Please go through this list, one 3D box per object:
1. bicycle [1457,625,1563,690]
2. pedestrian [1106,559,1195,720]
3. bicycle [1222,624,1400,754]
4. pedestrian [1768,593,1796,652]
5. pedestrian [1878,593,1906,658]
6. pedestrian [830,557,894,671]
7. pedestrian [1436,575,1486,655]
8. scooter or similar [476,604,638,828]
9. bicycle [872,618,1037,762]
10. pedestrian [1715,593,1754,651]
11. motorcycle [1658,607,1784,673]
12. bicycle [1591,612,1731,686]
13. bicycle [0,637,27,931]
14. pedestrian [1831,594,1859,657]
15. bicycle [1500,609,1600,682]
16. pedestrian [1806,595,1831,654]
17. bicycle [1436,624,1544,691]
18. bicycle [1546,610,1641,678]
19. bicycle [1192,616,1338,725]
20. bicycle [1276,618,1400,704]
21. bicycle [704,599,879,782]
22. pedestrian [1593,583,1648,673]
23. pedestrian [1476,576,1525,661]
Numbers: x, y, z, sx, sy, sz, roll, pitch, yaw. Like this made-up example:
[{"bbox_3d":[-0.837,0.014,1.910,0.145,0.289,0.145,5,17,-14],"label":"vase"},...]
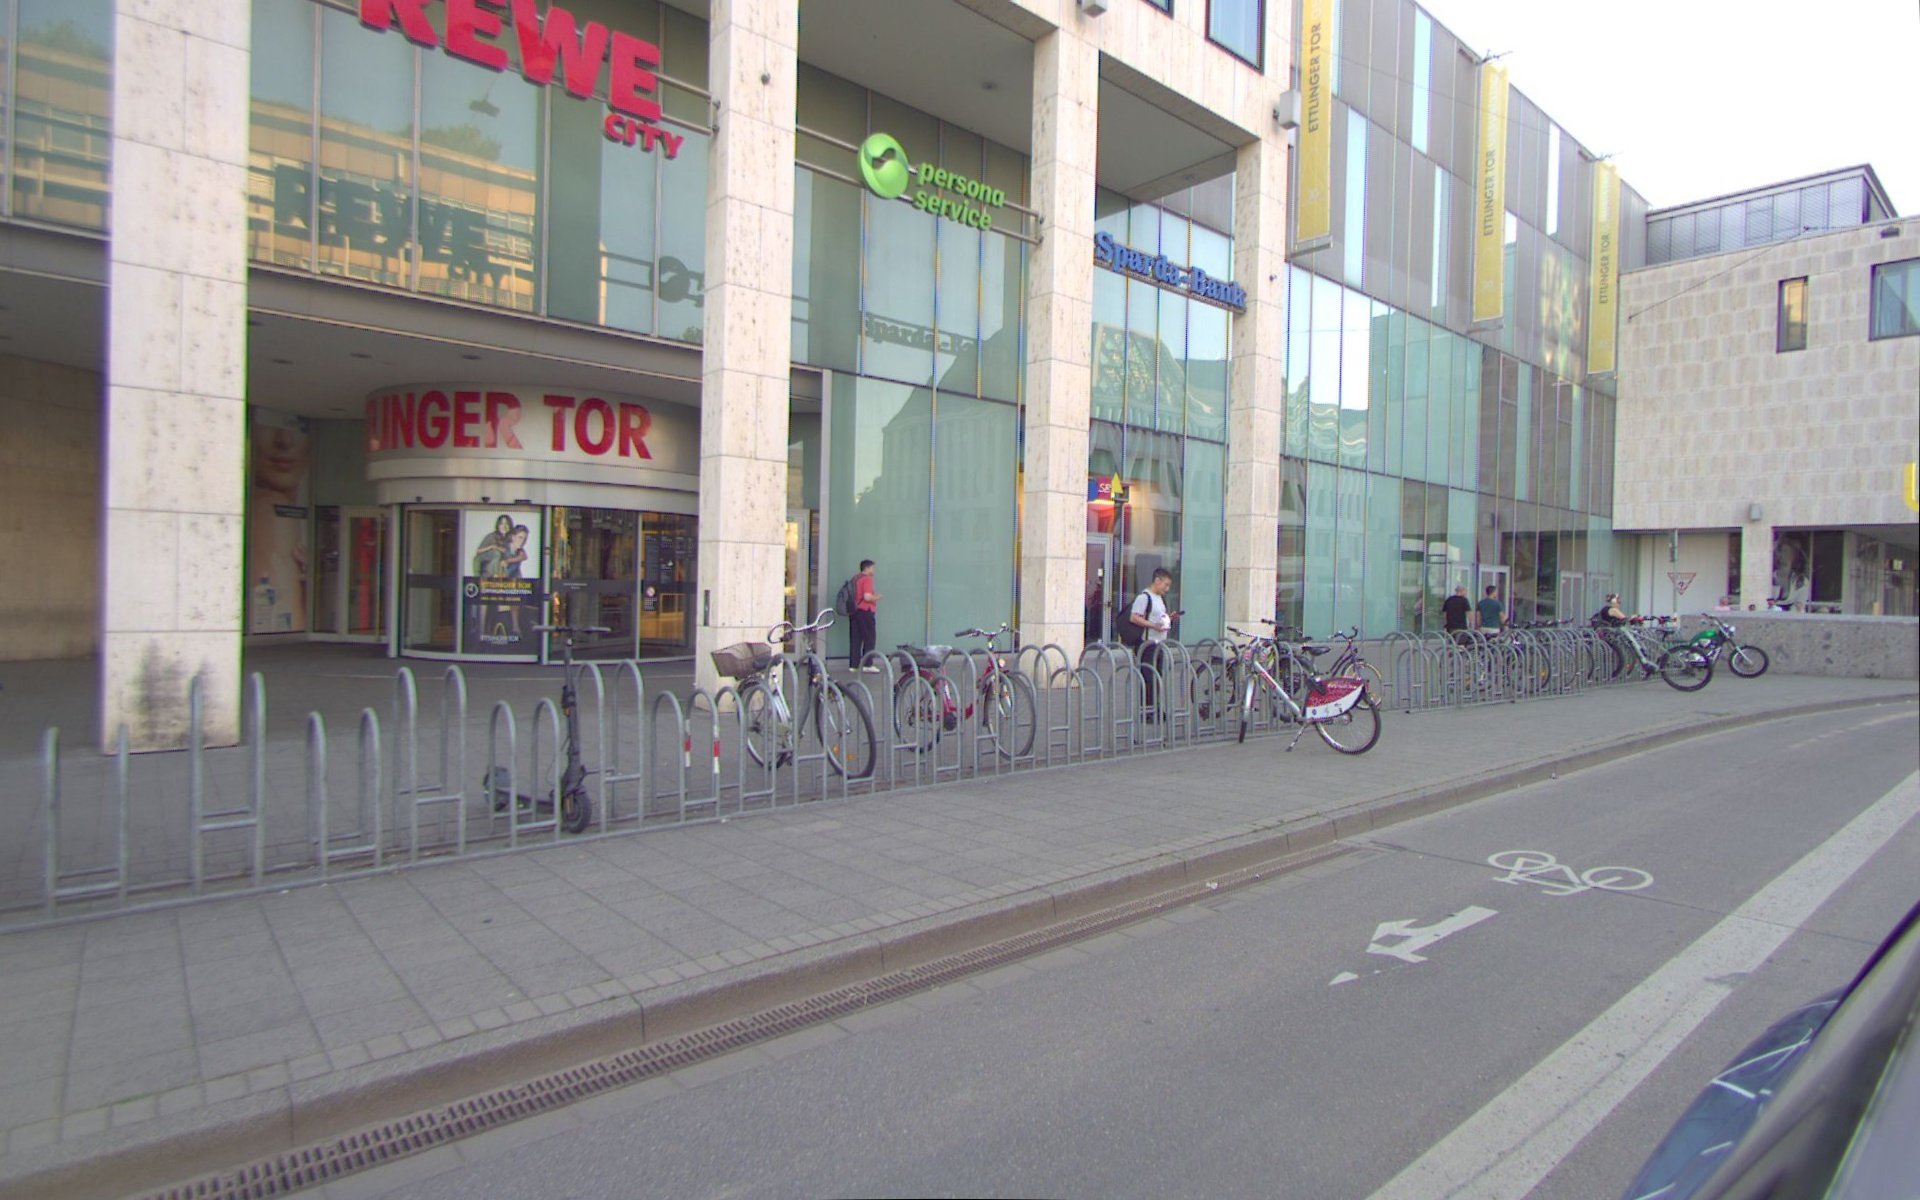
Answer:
[{"bbox_3d":[8.454,0.857,15.588,0.509,0.944,1.344,1,-2,-41],"label":"bicycle"},{"bbox_3d":[2.115,0.414,11.247,0.617,1.713,0.708,1,1,-32],"label":"pedestrian"},{"bbox_3d":[3.169,0.763,9.250,0.458,1.077,1.518,1,-2,-39],"label":"bicycle"},{"bbox_3d":[24.831,0.677,30.556,0.644,1.765,0.494,1,1,-38],"label":"pedestrian"},{"bbox_3d":[25.592,0.699,27.800,0.483,1.765,0.455,1,1,-38],"label":"pedestrian"},{"bbox_3d":[-1.484,0.201,15.264,0.695,1.672,0.629,1,1,-40],"label":"pedestrian"},{"bbox_3d":[10.815,0.310,21.834,0.738,1.668,0.808,2,1,41],"label":"pedestrian"},{"bbox_3d":[-2.520,0.654,6.278,0.484,1.214,1.194,1,1,-44],"label":"scooter or similar"},{"bbox_3d":[-0.077,0.716,8.673,0.543,1.120,1.516,1,-2,-43],"label":"bicycle"},{"bbox_3d":[24.132,0.685,31.545,0.644,1.765,0.794,1,1,-38],"label":"pedestrian"},{"bbox_3d":[15.578,0.792,20.769,0.472,1.239,2.004,1,1,-43],"label":"motorcycle"},{"bbox_3d":[11.564,0.776,16.747,0.458,1.161,1.837,1,-2,-39],"label":"bicycle"},{"bbox_3d":[-4.556,0.735,4.480,1.768,1.092,0.475,3,1,43],"label":"bicycle"},{"bbox_3d":[25.667,0.732,29.353,0.483,1.765,0.504,1,1,-38],"label":"pedestrian"},{"bbox_3d":[9.830,0.739,16.898,0.509,1.179,1.344,1,-2,-41],"label":"bicycle"},{"bbox_3d":[25.960,0.739,30.598,0.483,1.765,0.455,1,1,-38],"label":"pedestrian"},{"bbox_3d":[7.943,0.844,15.209,0.509,0.944,1.344,1,-2,-41],"label":"bicycle"},{"bbox_3d":[11.393,0.771,18.222,0.509,1.179,1.344,1,-2,-41],"label":"bicycle"},{"bbox_3d":[3.377,0.744,11.313,0.569,1.138,1.519,1,-1,-36],"label":"bicycle"},{"bbox_3d":[5.011,0.783,13.453,1.439,1.078,0.572,-1,-2,39],"label":"bicycle"},{"bbox_3d":[-1.308,0.628,7.670,0.607,1.243,1.517,1,-2,-41],"label":"bicycle"},{"bbox_3d":[12.722,0.525,19.512,0.802,1.663,0.640,2,1,31],"label":"pedestrian"},{"bbox_3d":[11.278,0.381,21.124,0.696,1.717,0.808,2,1,41],"label":"pedestrian"}]
